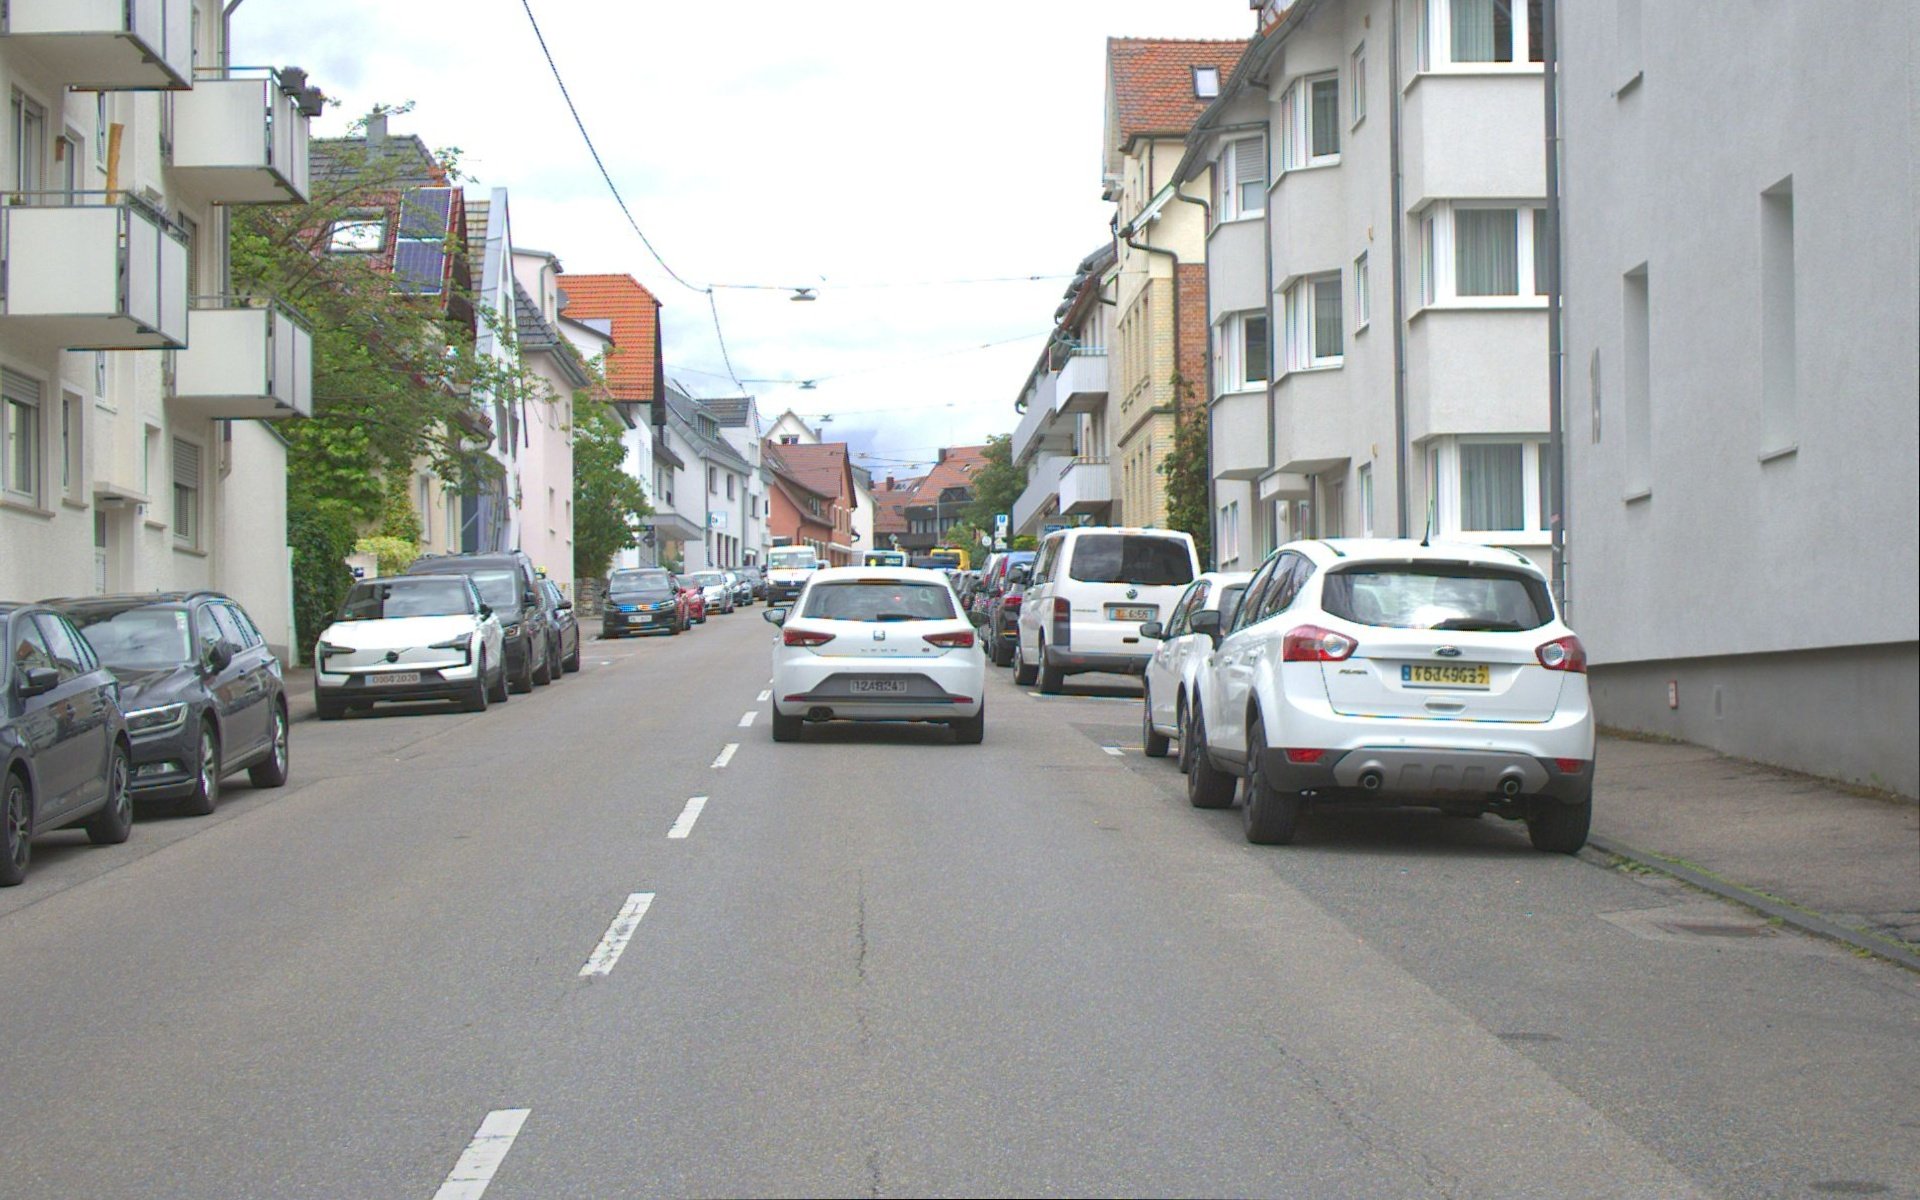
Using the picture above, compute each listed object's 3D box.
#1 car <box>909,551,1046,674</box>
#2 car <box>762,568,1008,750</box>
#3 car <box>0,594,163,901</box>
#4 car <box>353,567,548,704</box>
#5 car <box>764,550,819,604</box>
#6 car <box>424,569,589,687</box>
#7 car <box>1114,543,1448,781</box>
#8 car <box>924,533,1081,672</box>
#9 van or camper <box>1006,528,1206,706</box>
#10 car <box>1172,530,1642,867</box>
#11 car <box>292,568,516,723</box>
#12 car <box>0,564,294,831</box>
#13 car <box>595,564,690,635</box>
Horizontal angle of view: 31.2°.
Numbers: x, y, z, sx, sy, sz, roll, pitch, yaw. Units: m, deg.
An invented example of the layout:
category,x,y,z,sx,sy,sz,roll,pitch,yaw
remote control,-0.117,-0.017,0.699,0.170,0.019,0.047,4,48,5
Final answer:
category,x,y,z,sx,sy,sz,roll,pitch,yaw
car,0.259,0.185,59.042,1.993,2.007,4.001,-1,0,-5
car,-0.644,0.448,29.152,1.940,1.434,4.000,0,0,-1
car,-5.598,0.766,18.578,1.642,1.468,4.179,-3,1,-2
car,-6.458,0.413,44.002,1.993,1.645,4.000,-1,1,-2
car,-6.425,-0.885,131.659,1.993,2.007,4.000,-1,0,-2
car,-6.623,0.378,50.557,1.993,1.645,4.000,-1,1,-2
car,2.375,0.425,26.427,1.940,1.687,4.001,0,0,-4
car,0.604,0.027,52.412,1.993,2.007,4.001,-1,0,-5
van or camper,1.709,0.176,41.778,1.940,2.048,4.563,0,0,-4
car,2.442,0.490,19.802,1.940,1.687,4.001,2,1,-3
car,-6.270,0.475,39.152,1.993,1.645,4.000,-1,1,-2
car,-5.862,0.589,23.358,1.993,1.645,4.000,-1,1,-2
car,-7.582,-0.029,82.513,1.993,1.645,4.179,-1,1,-2
